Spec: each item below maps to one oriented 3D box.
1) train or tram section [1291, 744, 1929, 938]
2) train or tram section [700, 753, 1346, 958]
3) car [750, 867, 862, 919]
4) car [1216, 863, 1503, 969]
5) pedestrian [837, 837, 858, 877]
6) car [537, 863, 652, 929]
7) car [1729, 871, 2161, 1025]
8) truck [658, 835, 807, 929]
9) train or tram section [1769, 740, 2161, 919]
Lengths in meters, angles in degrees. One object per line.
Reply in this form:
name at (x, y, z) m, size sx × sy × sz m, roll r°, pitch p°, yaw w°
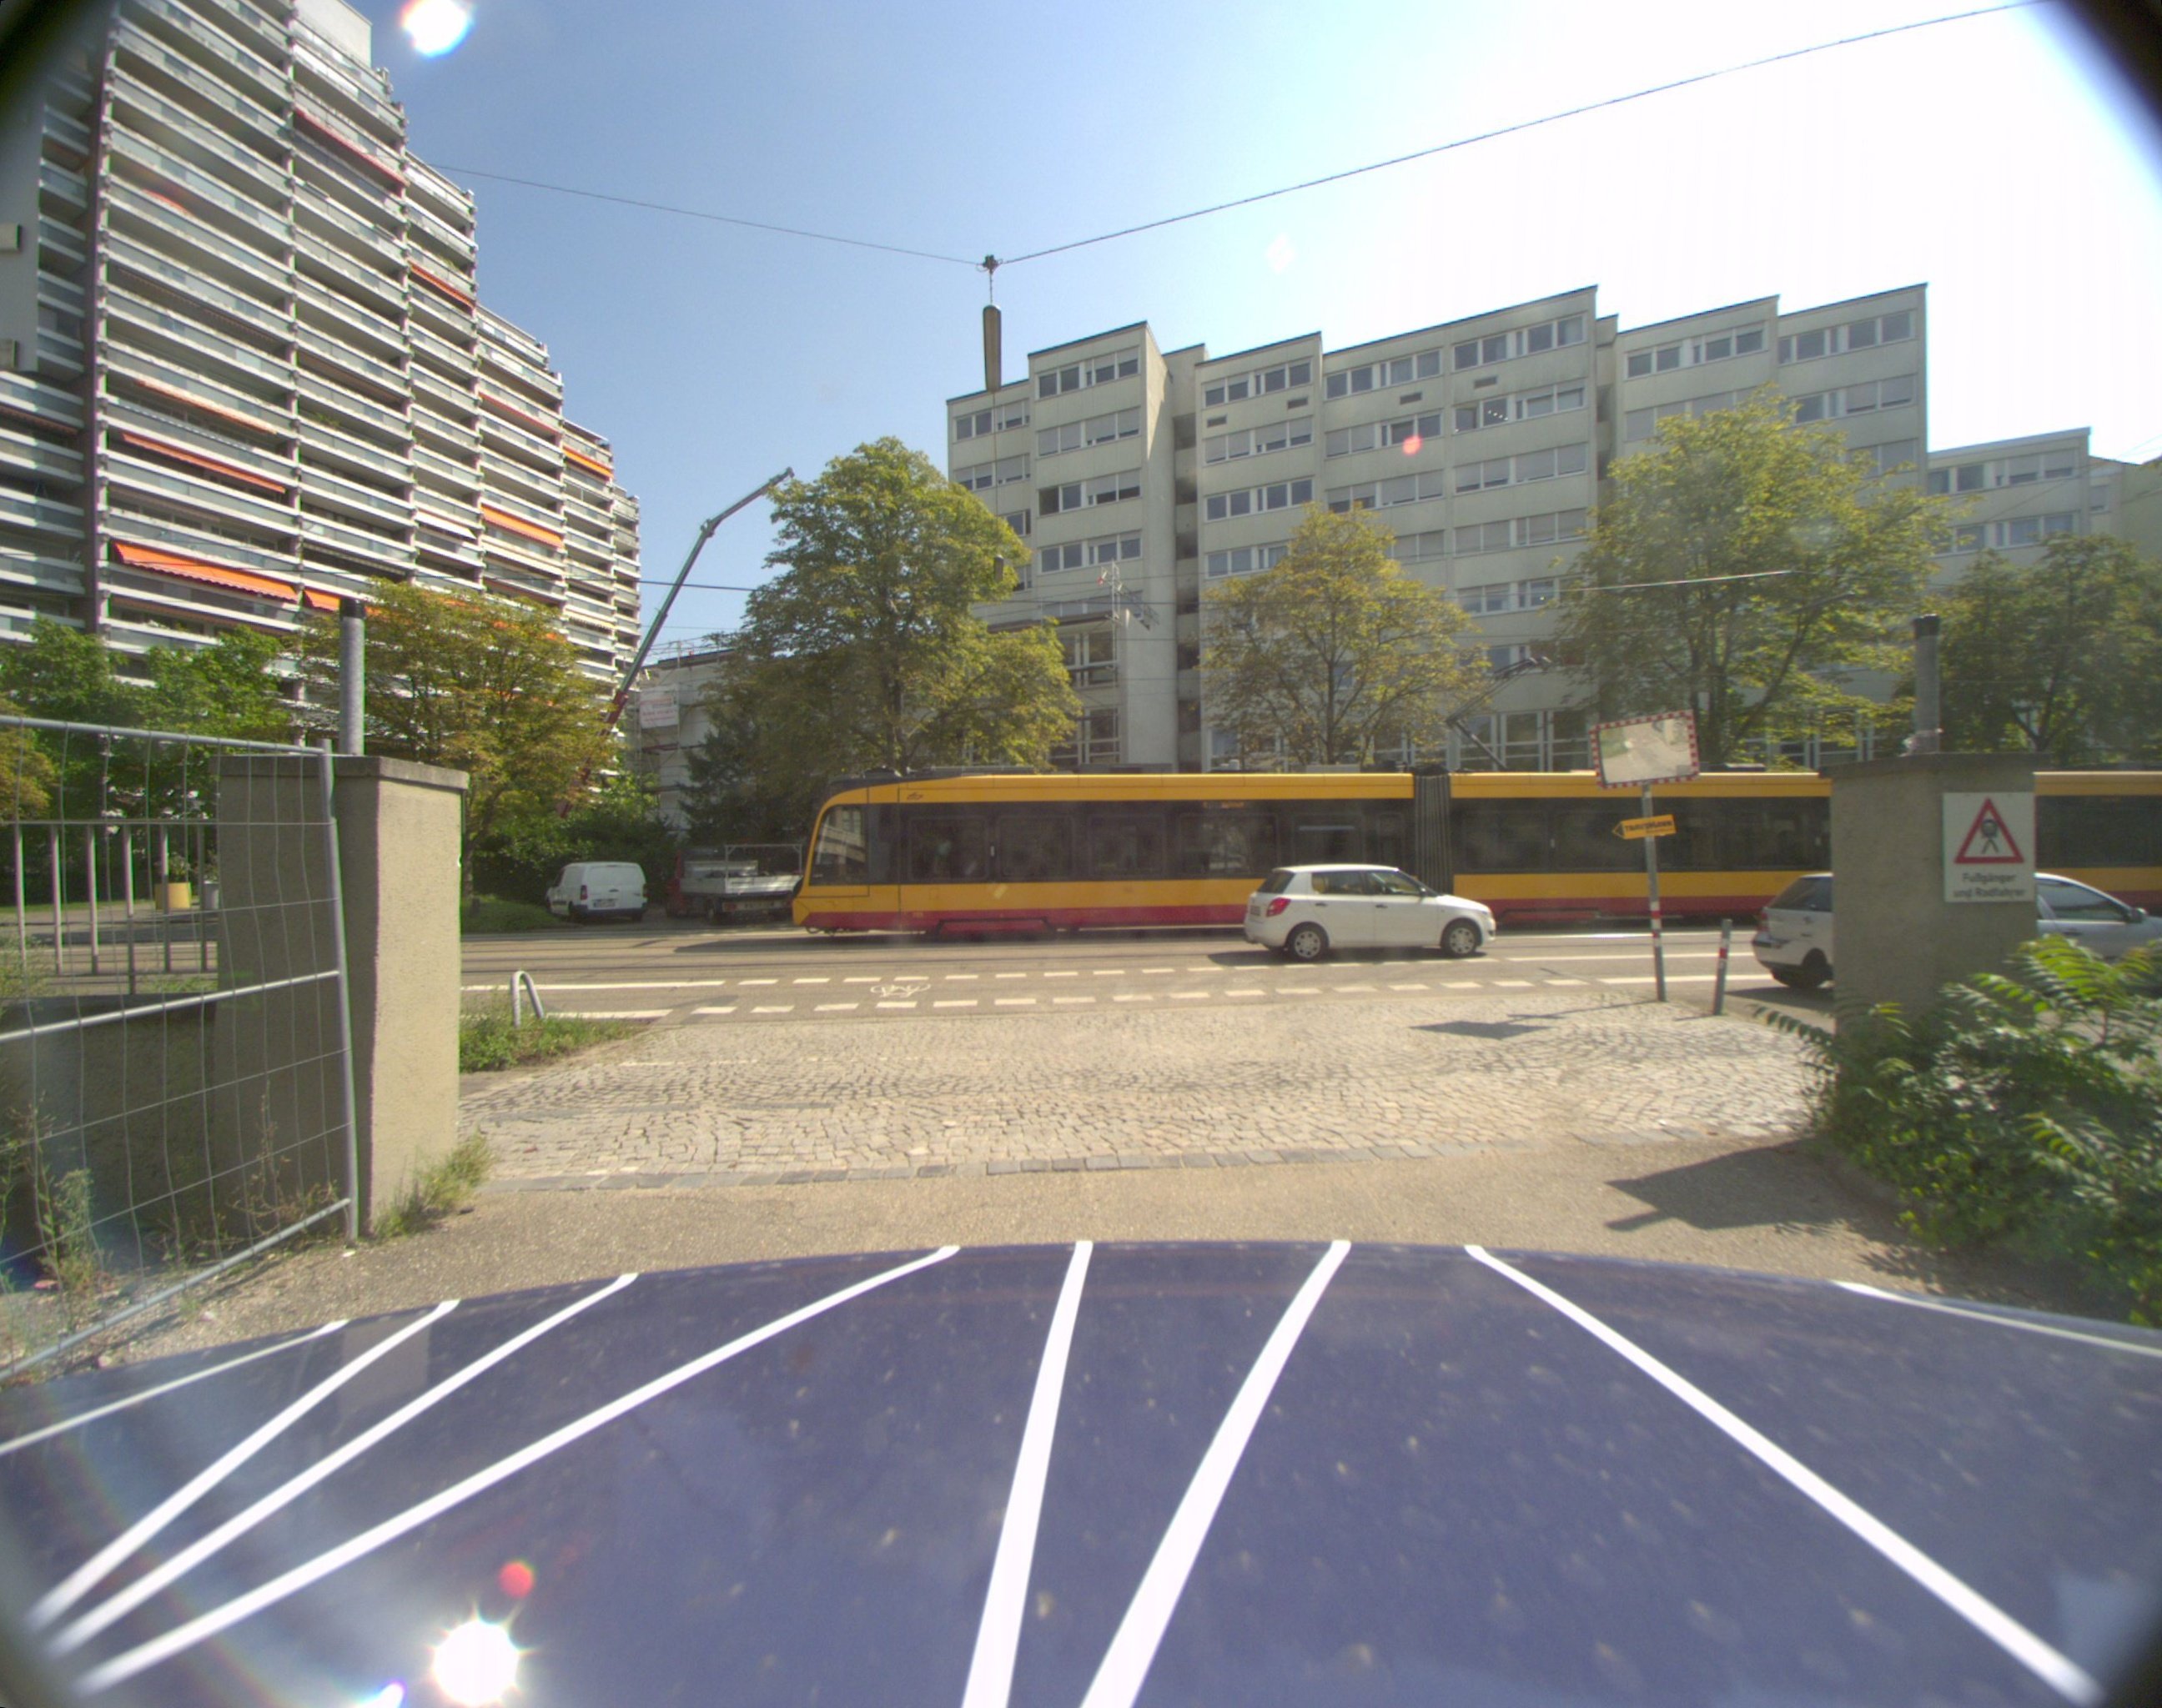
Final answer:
train or tram section at (11.470, -0.321, 17.270) m, size 12.406 × 3.683 × 3.507 m, roll -1°, pitch 1°, yaw -4°
train or tram section at (-1.044, -0.030, 16.464) m, size 12.406 × 3.683 × 3.507 m, roll -1°, pitch 1°, yaw -4°
car at (-8.750, 1.174, 24.069) m, size 3.849 × 1.499 × 1.724 m, roll -1°, pitch 0°, yaw 42°
car at (4.432, 0.942, 12.459) m, size 4.017 × 1.483 × 1.824 m, roll -1°, pitch 0°, yaw -4°
pedestrian at (-10.638, 0.146, 34.630) m, size 0.741 × 1.776 × 0.828 m, roll -1°, pitch 0°, yaw -28°
car at (-14.529, 1.184, 22.599) m, size 4.273 × 1.761 × 1.829 m, roll -1°, pitch 0°, yaw 43°
car at (9.717, 0.934, 8.322) m, size 3.730 × 1.437 × 1.797 m, roll -1°, pitch -1°, yaw -2°
truck at (-10.390, 0.757, 22.343) m, size 2.155 × 2.420 × 5.952 m, roll -1°, pitch 0°, yaw -43°
train or tram section at (23.897, -0.633, 18.086) m, size 12.406 × 3.683 × 3.507 m, roll -1°, pitch 1°, yaw -4°
